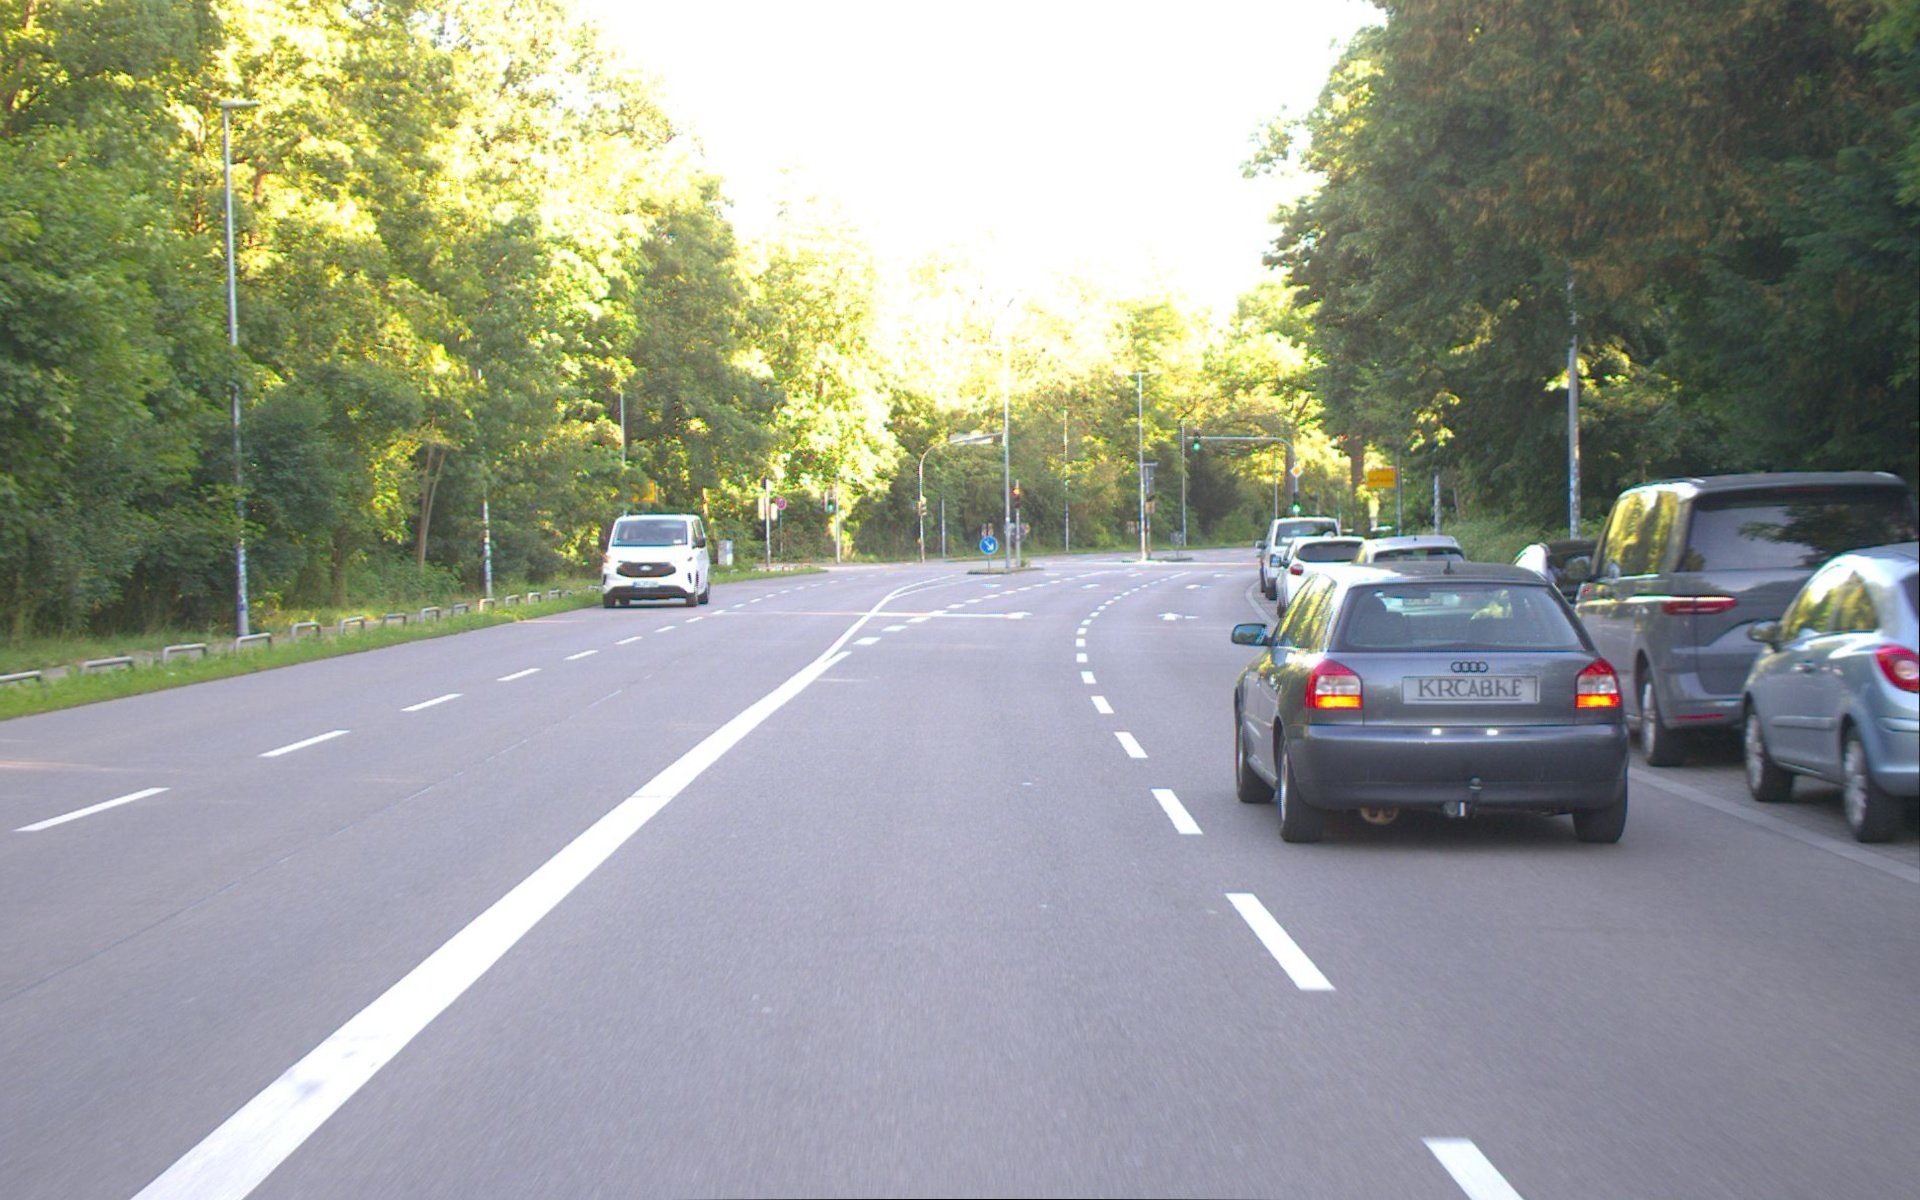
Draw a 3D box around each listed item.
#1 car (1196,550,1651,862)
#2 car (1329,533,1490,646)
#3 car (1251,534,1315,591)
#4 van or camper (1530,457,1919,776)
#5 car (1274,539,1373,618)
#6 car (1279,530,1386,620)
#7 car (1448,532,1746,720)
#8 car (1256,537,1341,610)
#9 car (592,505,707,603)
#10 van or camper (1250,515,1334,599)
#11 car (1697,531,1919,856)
[{"bbox_3d":[2.330,0.470,18.268,1.727,1.436,4.090,0,1,-2],"label":"car"},{"bbox_3d":[6.035,-0.175,46.591,1.728,1.436,4.666,0,1,2],"label":"car"},{"bbox_3d":[8.745,-1.046,93.304,1.650,1.436,4.112,-2,1,5],"label":"car"},{"bbox_3d":[5.389,0.044,24.306,1.893,1.942,5.134,-3,1,1],"label":"van or camper"},{"bbox_3d":[6.943,-0.430,65.947,1.728,1.405,4.089,-1,1,4],"label":"car"},{"bbox_3d":[6.604,-0.472,61.190,1.728,1.517,4.089,0,1,4],"label":"car"},{"bbox_3d":[5.571,0.166,30.658,1.838,1.436,4.957,-3,1,2],"label":"car"},{"bbox_3d":[7.579,-0.614,77.181,1.648,1.517,3.866,-2,1,3],"label":"car"},{"bbox_3d":[-6.619,-0.985,73.794,1.993,1.985,4.998,1,1,0],"label":"car"},{"bbox_3d":[8.027,-1.071,83.508,1.832,1.963,5.341,0,1,4],"label":"van or camper"},{"bbox_3d":[5.237,0.400,18.440,1.728,1.538,4.217,0,1,1],"label":"car"}]
